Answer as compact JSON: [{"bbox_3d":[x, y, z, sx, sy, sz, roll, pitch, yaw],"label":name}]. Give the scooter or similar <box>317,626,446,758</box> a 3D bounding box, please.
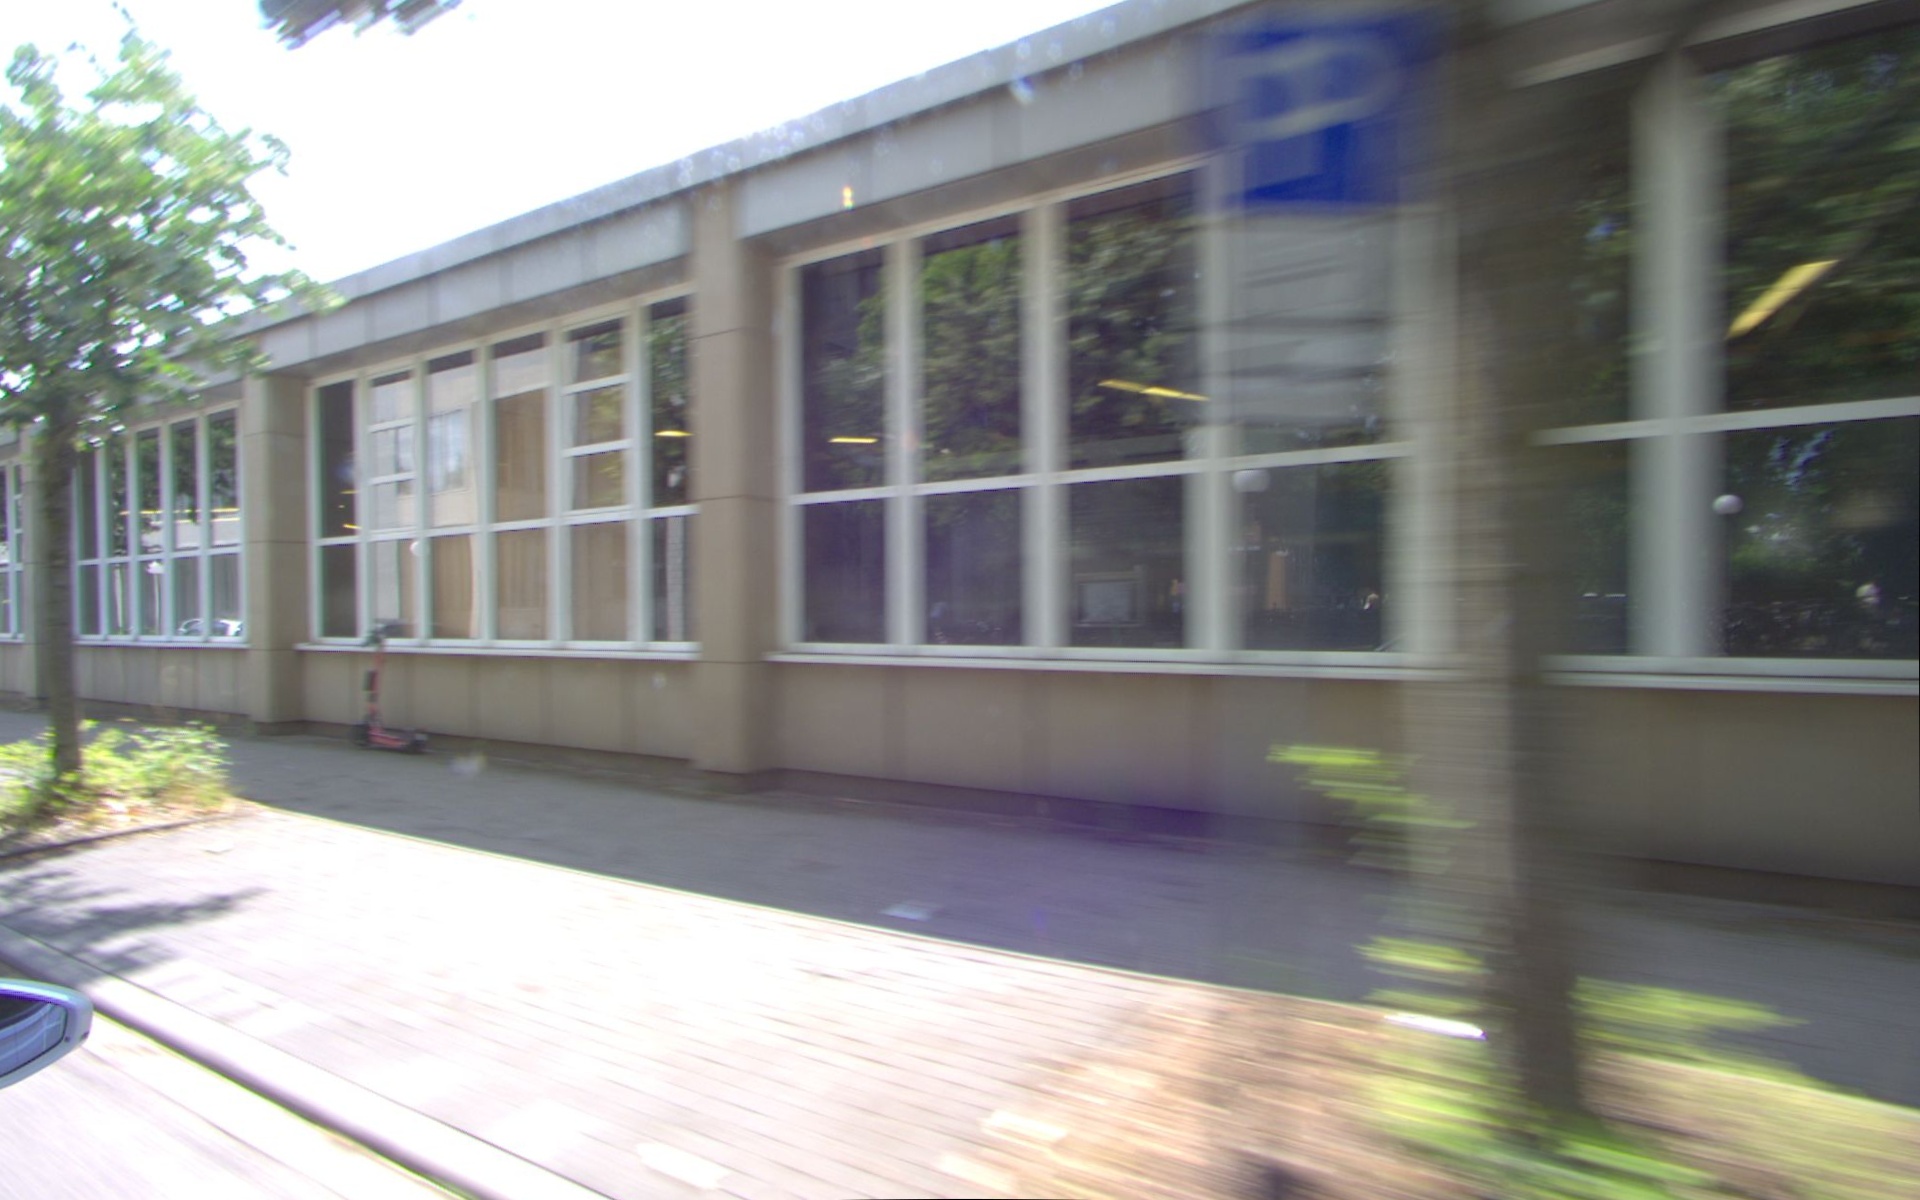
[{"bbox_3d":[-5.962,0.907,10.305,1.464,1.266,0.509,-1,1,33],"label":"scooter or similar"}]
